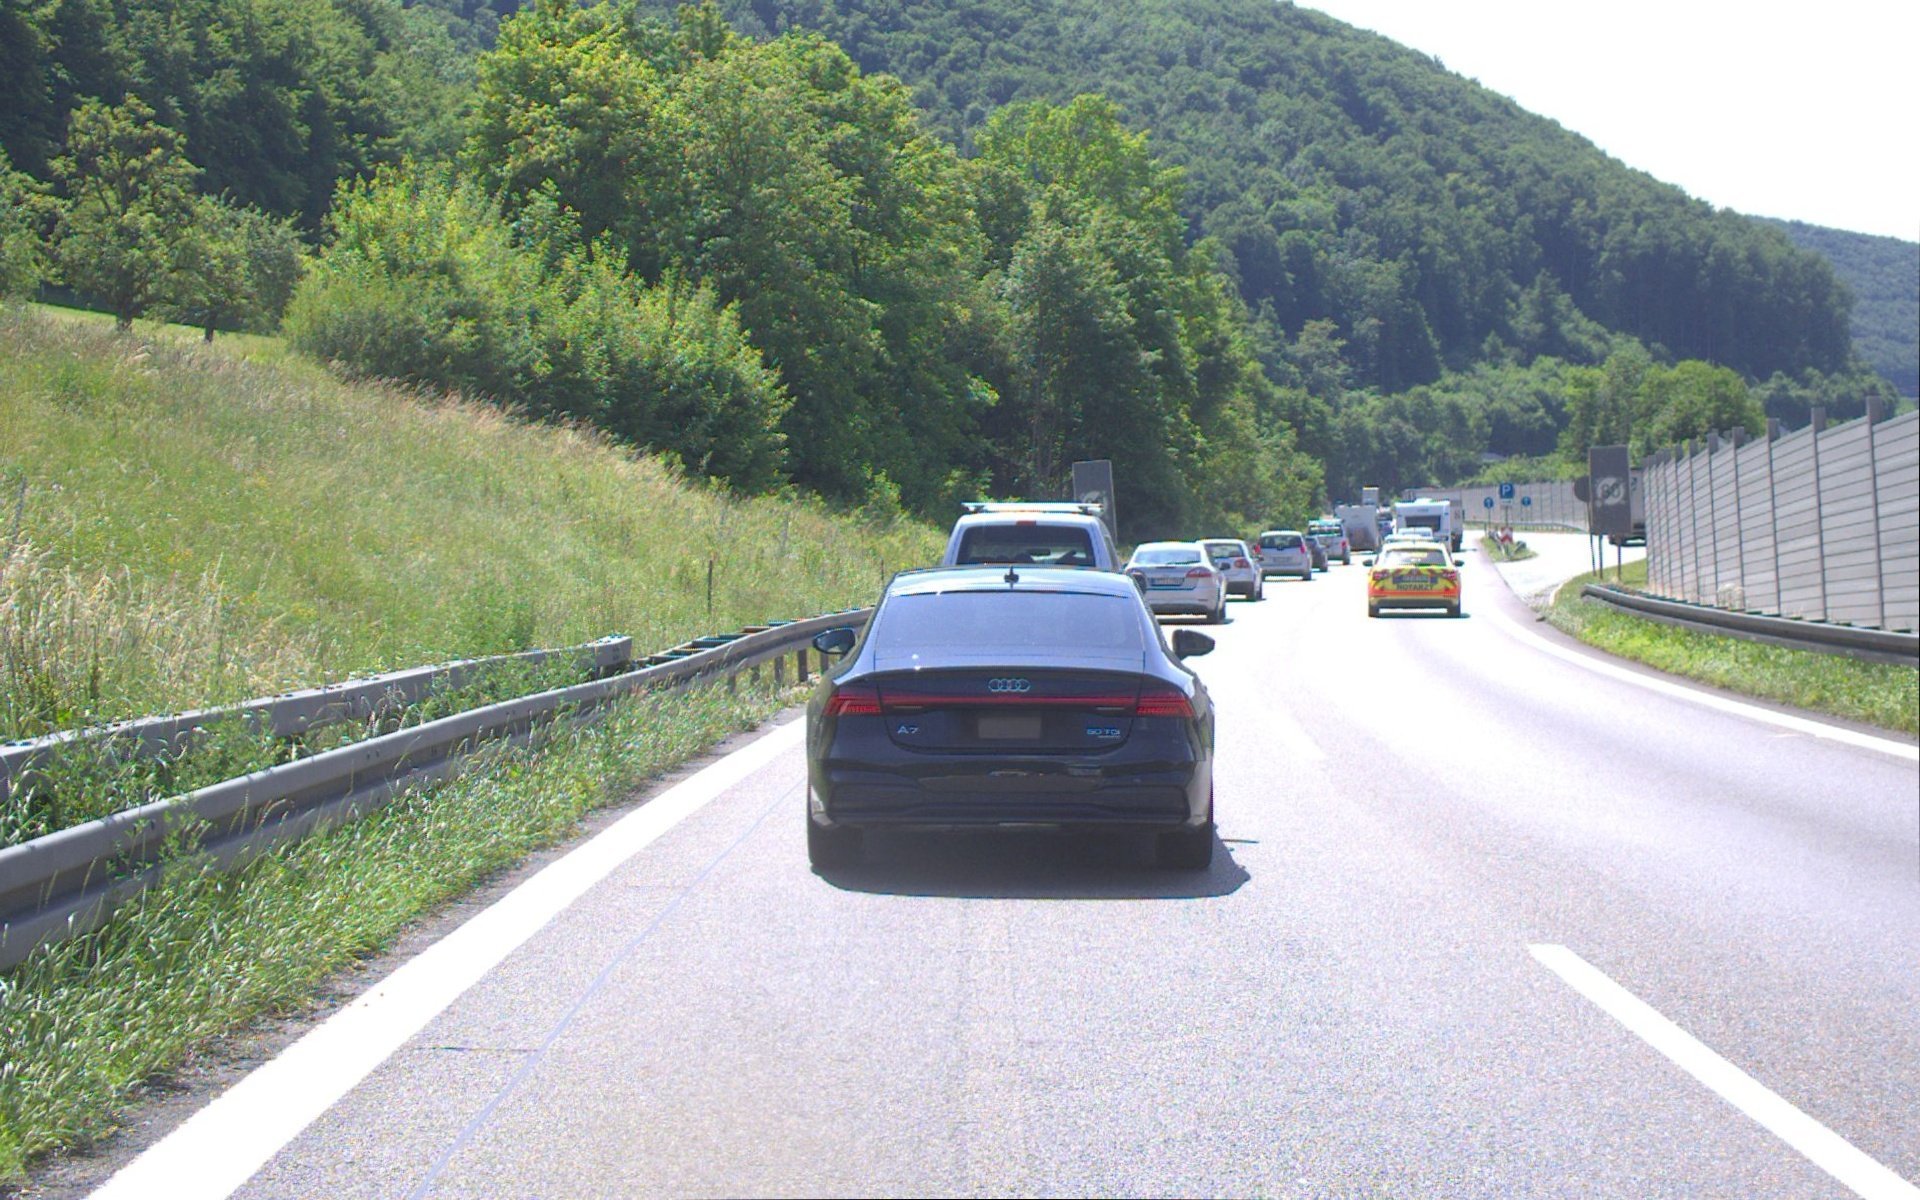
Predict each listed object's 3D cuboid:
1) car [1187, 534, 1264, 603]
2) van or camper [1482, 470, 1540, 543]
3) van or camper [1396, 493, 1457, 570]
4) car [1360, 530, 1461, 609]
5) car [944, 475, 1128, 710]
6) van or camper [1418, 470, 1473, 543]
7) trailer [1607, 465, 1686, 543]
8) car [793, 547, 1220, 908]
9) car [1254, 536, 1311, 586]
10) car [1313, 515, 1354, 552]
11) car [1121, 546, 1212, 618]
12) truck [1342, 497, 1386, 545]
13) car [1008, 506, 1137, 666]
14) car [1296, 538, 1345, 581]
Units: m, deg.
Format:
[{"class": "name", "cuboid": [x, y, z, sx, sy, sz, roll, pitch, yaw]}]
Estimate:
[{"class": "car", "cuboid": [6.353, -0.762, 82.042, 1.521, 1.547, 3.513, 2, 1, 9]}, {"class": "van or camper", "cuboid": [30.171, -5.084, 188.290, 2.795, 3.828, 6.165, 1, 1, 7]}, {"class": "van or camper", "cuboid": [19.757, -2.867, 145.354, 2.430, 3.144, 5.202, 1, 1, 9]}, {"class": "car", "cuboid": [8.914, -0.620, 67.820, 1.879, 1.493, 3.999, 0, 1, 9]}, {"class": "car", "cuboid": [0.714, -0.100, 31.082, 1.521, 1.961, 3.514, 2, 1, 2]}, {"class": "van or camper", "cuboid": [26.747, -5.108, 189.544, 2.795, 3.893, 6.165, 1, 1, 7]}, {"class": "trailer", "cuboid": [35.569, -4.978, 178.444, 3.413, 3.887, 11.148, 0, 1, 8]}, {"class": "car", "cuboid": [0.226, 0.523, 16.583, 1.812, 1.509, 3.514, -1, 1, 1]}, {"class": "car", "cuboid": [10.529, -1.273, 112.101, 1.522, 1.547, 3.513, 2, 1, 10]}, {"class": "car", "cuboid": [16.483, -2.918, 151.481, 1.522, 1.547, 3.513, 2, 1, 10]}, {"class": "car", "cuboid": [3.849, -0.354, 63.634, 1.521, 1.290, 3.514, 0, 1, 6]}, {"class": "truck", "cuboid": [22.690, -4.422, 192.836, 2.065, 2.596, 5.611, 2, 1, 10]}, {"class": "car", "cuboid": [1.431, -0.188, 43.458, 1.539, 1.918, 3.478, 1, 1, 2]}, {"class": "car", "cuboid": [13.734, -1.551, 130.773, 1.522, 1.547, 3.513, 2, 1, 11]}]
